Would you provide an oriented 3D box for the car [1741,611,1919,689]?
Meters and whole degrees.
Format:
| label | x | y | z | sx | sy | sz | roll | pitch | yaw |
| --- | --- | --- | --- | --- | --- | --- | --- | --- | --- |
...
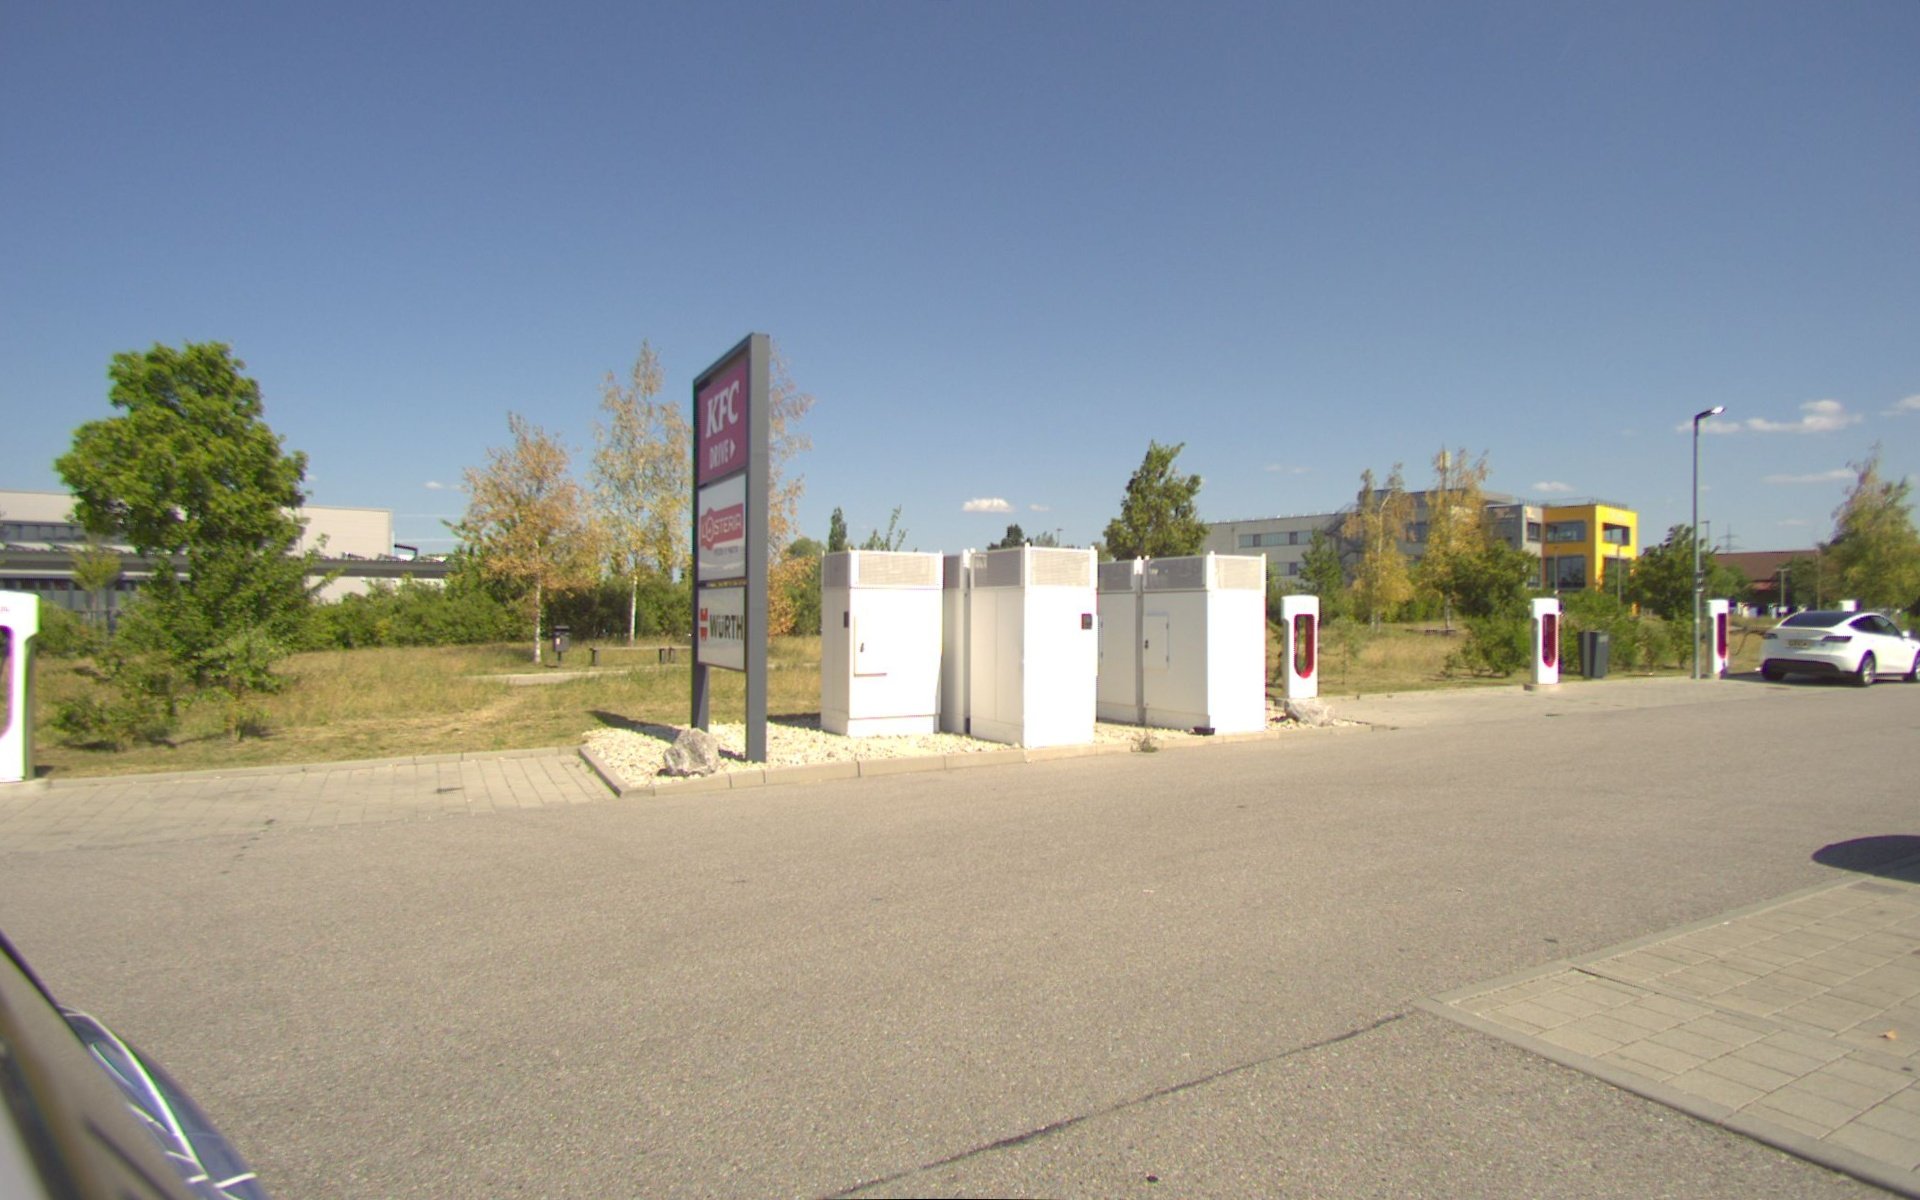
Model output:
| label | x | y | z | sx | sy | sz | roll | pitch | yaw |
| --- | --- | --- | --- | --- | --- | --- | --- | --- | --- |
| car | 20.007 | 1.045 | 22.860 | 4.357 | 1.538 | 2.225 | 0 | 0 | -30 |

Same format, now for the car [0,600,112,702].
| label | x | y | z | sx | sy | sz | roll | pitch | yaw |
| --- | --- | --- | --- | --- | --- | --- | --- | --- | --- |
| car | -18.096 | 0.921 | 19.257 | 1.886 | 1.763 | 4.271 | 0 | -1 | -24 |
